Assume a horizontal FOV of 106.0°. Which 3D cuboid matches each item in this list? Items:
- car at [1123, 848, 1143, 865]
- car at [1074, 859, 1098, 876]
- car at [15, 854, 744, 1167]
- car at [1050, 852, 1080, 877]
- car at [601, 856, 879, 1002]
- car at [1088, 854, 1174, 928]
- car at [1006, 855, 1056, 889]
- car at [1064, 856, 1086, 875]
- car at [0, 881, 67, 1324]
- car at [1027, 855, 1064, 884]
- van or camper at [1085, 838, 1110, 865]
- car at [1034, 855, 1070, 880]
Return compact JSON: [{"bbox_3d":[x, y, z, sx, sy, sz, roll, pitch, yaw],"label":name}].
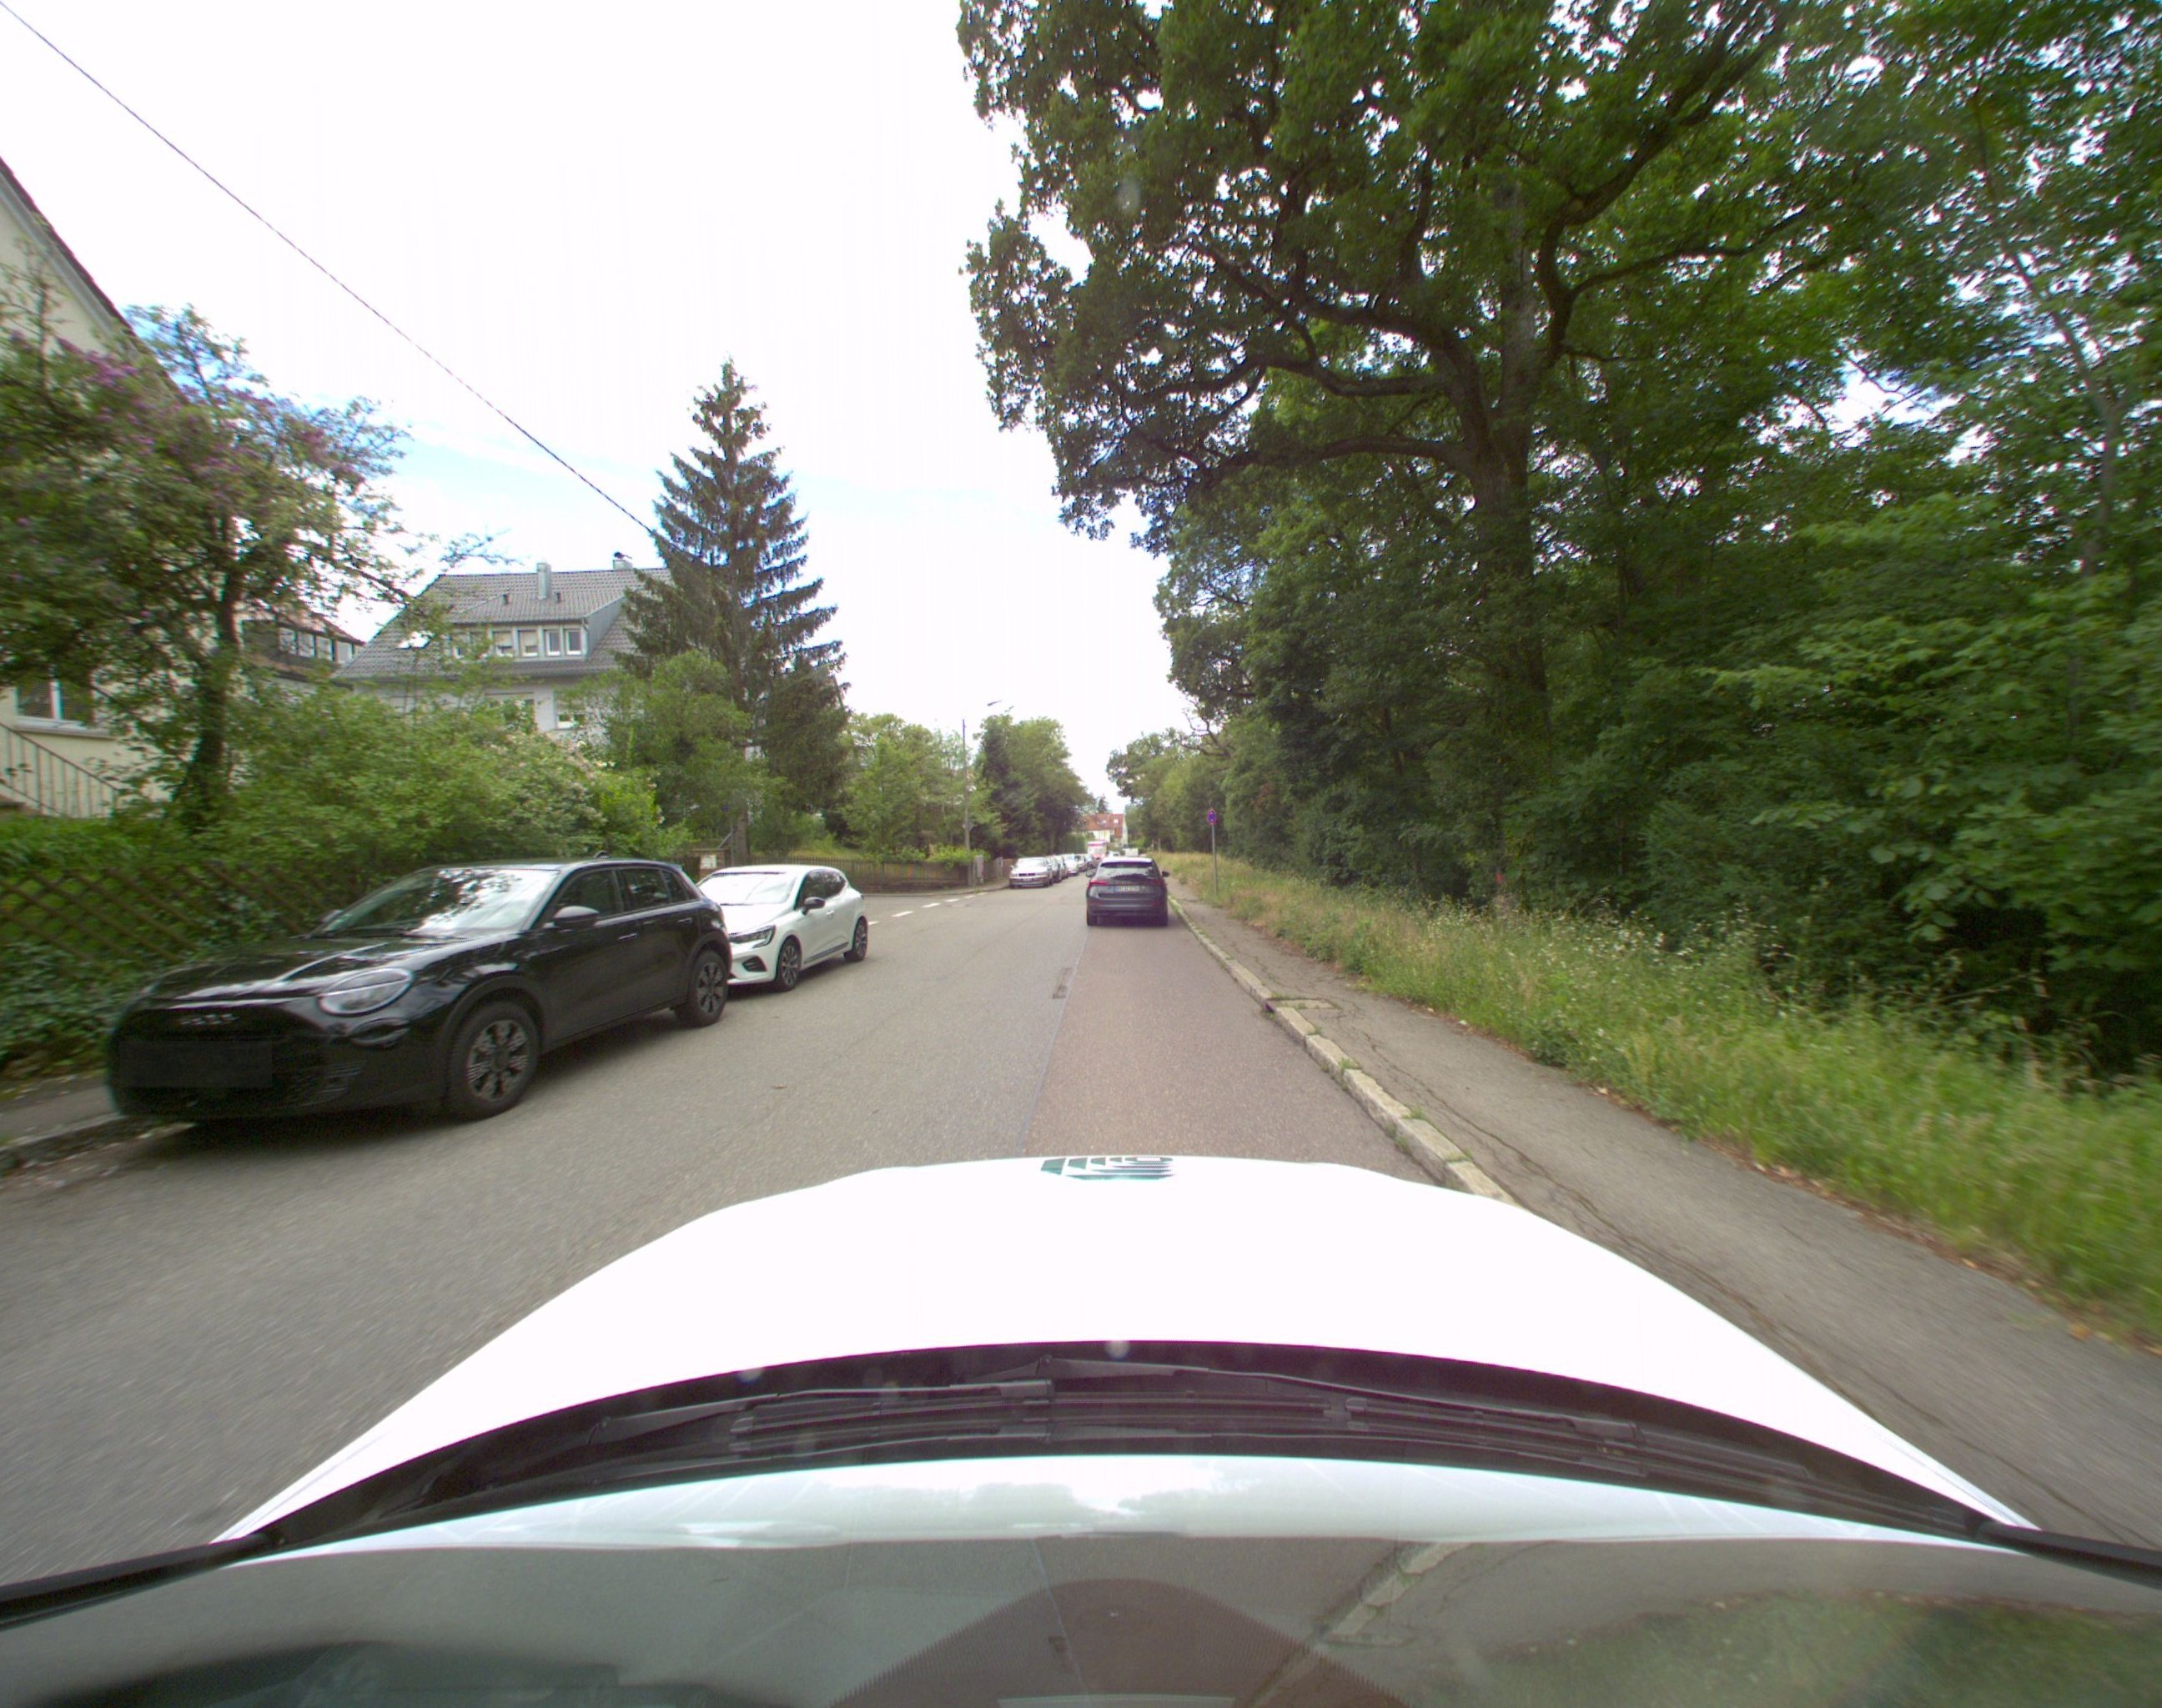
[{"bbox_3d":[6.249,0.290,97.924,2.065,1.922,4.922,-1,0,0],"label":"car"},{"bbox_3d":[0.530,1.289,80.783,1.789,1.505,4.870,-4,0,5],"label":"car"},{"bbox_3d":[-4.287,0.775,6.009,1.776,1.500,4.017,-1,0,2],"label":"car"},{"bbox_3d":[-1.088,0.731,57.783,1.909,1.562,4.605,-4,0,1],"label":"car"},{"bbox_3d":[-4.094,0.797,10.599,1.776,1.500,4.017,-1,0,2],"label":"car"},{"bbox_3d":[1.046,0.746,18.569,1.722,1.439,4.324,-1,0,1],"label":"car"},{"bbox_3d":[-2.318,0.822,38.871,1.841,1.439,4.912,-3,0,2],"label":"car"},{"bbox_3d":[-0.462,0.943,68.259,1.715,1.505,4.007,-4,0,0],"label":"car"},{"bbox_3d":[-4.460,0.843,0.668,1.777,1.439,4.324,-1,0,1],"label":"car"},{"bbox_3d":[-1.892,0.824,44.863,1.728,1.439,4.263,-3,0,1],"label":"car"},{"bbox_3d":[1.838,-0.276,93.049,2.450,2.895,7.162,-2,0,-2],"label":"van or camper"},{"bbox_3d":[-1.763,0.814,50.687,1.827,1.439,4.120,-3,0,3],"label":"car"}]
